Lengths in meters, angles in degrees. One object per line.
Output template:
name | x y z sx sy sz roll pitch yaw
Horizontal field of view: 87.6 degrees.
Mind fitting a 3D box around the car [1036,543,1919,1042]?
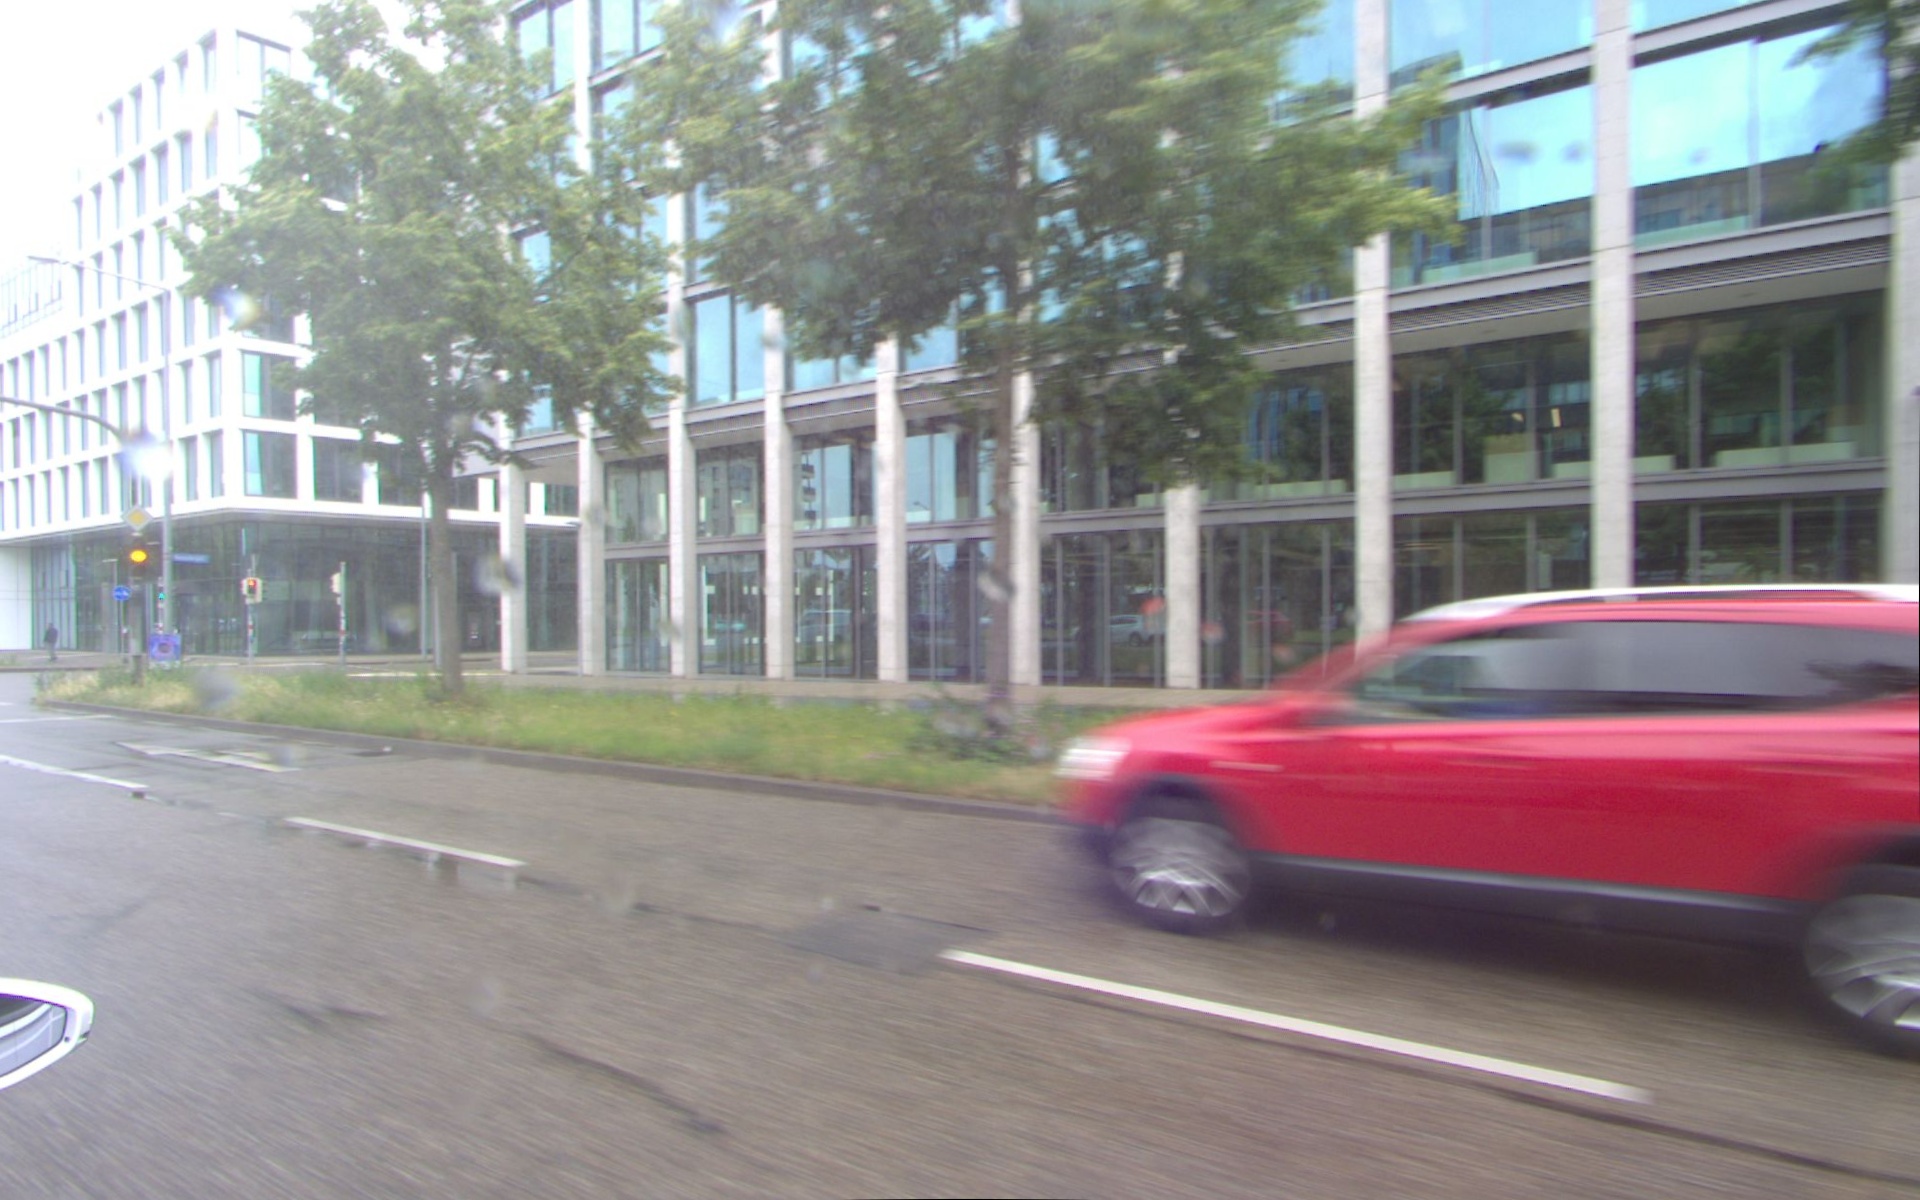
car | 2.641 0.708 4.738 4.187 1.631 1.792 0 -5 34

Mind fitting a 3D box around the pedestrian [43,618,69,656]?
pedestrian | -41.685 1.692 46.154 0.772 1.729 0.676 0 -1 30
